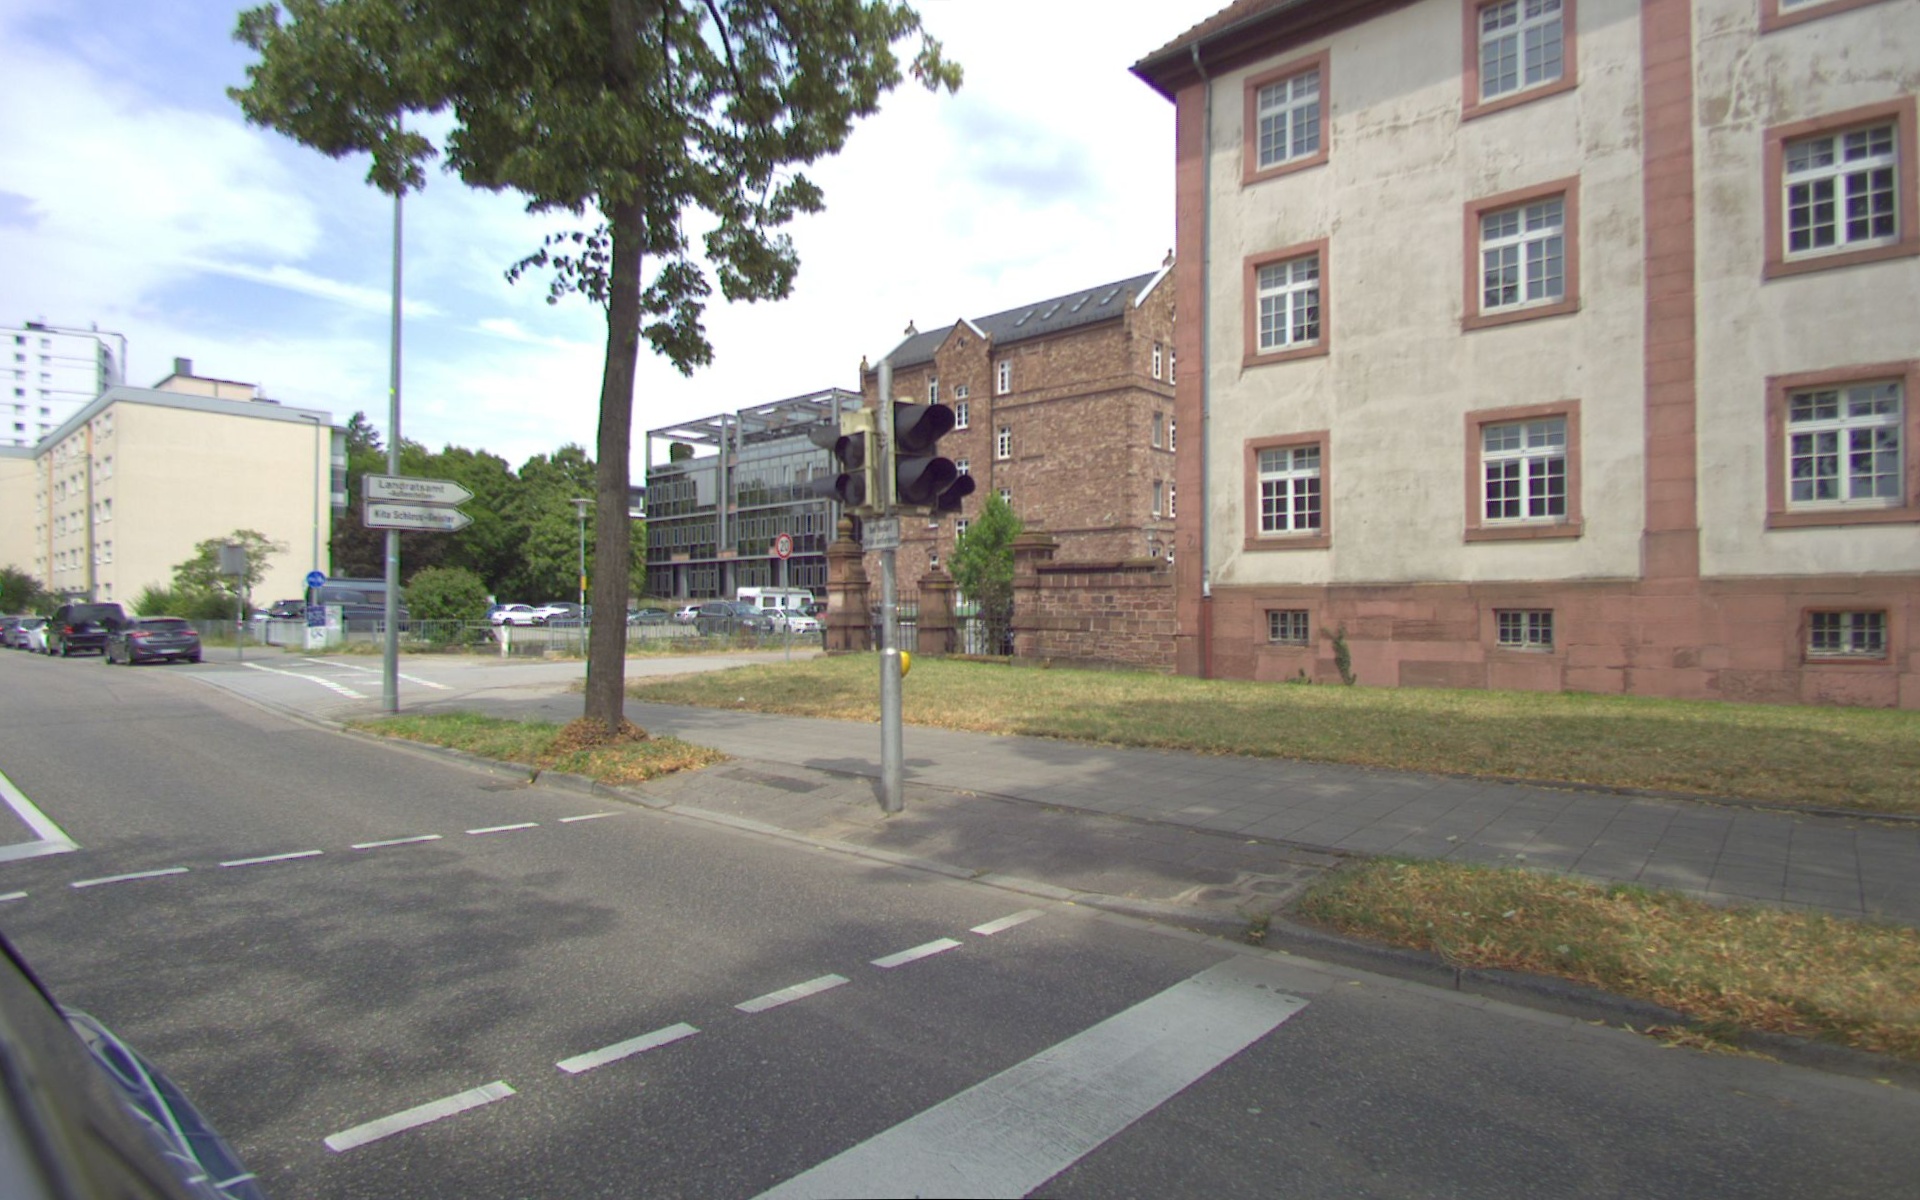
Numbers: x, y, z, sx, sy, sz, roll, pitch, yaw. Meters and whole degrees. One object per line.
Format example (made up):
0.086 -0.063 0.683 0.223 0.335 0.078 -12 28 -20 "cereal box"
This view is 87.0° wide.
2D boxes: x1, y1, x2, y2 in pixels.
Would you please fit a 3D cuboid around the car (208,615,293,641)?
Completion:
-42.489 1.659 60.643 3.940 1.494 2.002 0 -1 -44 "car"

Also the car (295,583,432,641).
-28.912 0.539 49.170 2.354 2.571 5.254 -1 1 42 "car"

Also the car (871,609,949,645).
-2.798 1.570 57.902 1.875 1.952 4.456 -1 -3 42 "car"

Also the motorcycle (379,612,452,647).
-18.843 1.036 35.035 2.066 1.151 0.725 3 -3 -45 "motorcycle"

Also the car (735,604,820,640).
-9.080 1.056 50.177 4.232 1.669 1.944 0 -1 40 "car"

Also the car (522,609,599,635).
-24.411 1.316 61.990 1.616 1.494 4.112 0 -1 41 "car"

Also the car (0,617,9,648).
-50.741 1.669 52.331 3.993 1.587 1.607 -1 -1 37 "car"

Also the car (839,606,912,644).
-4.931 1.519 59.798 1.726 2.153 4.316 -1 -3 41 "car"

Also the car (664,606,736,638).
-18.209 1.567 70.970 2.205 2.153 4.311 -2 -3 45 "car"

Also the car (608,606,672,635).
-23.929 1.569 75.831 1.969 2.153 4.175 -1 -2 40 "car"

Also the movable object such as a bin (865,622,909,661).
-2.011 1.136 28.070 0.709 1.041 1.027 -1 -1 42 "movable object such as a bin"

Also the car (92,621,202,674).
-25.332 1.433 31.489 4.293 1.484 1.804 -1 1 39 "car"

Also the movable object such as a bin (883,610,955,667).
-1.106 1.022 27.285 1.570 1.479 1.188 -1 -1 42 "movable object such as a bin"

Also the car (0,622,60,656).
-41.802 1.726 45.247 4.258 1.468 1.671 -2 -1 39 "car"

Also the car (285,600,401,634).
-30.944 0.860 50.875 2.000 1.630 4.645 -2 -2 43 "car"

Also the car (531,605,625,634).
-22.657 1.186 60.152 2.330 1.677 4.641 -1 -3 43 "car"

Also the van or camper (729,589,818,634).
-11.724 0.745 63.864 2.579 2.723 4.997 -1 -2 40 "van or camper"

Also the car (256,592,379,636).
-33.246 0.788 52.470 2.229 2.166 5.029 -2 -2 43 "car"

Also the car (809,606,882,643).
-6.884 1.490 61.163 1.804 2.153 4.314 -1 -3 42 "car"

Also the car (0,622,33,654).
-46.286 1.801 48.957 4.046 1.481 1.670 -1 -1 41 "car"

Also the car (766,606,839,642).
-9.673 1.507 62.511 1.726 2.153 4.314 -1 -3 42 "car"

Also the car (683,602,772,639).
-11.019 0.939 47.850 4.232 1.669 1.944 0 -1 40 "car"

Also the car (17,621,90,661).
-37.342 1.683 41.681 3.760 1.541 1.638 -2 -1 39 "car"

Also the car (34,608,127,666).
-33.223 1.350 38.168 4.840 2.019 1.929 -2 0 40 "car"

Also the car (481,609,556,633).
-28.327 1.327 65.013 1.969 1.494 3.946 0 -1 41 "car"

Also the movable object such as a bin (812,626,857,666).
-3.445 1.258 27.899 0.709 1.041 1.027 -1 -1 42 "movable object such as a bin"
